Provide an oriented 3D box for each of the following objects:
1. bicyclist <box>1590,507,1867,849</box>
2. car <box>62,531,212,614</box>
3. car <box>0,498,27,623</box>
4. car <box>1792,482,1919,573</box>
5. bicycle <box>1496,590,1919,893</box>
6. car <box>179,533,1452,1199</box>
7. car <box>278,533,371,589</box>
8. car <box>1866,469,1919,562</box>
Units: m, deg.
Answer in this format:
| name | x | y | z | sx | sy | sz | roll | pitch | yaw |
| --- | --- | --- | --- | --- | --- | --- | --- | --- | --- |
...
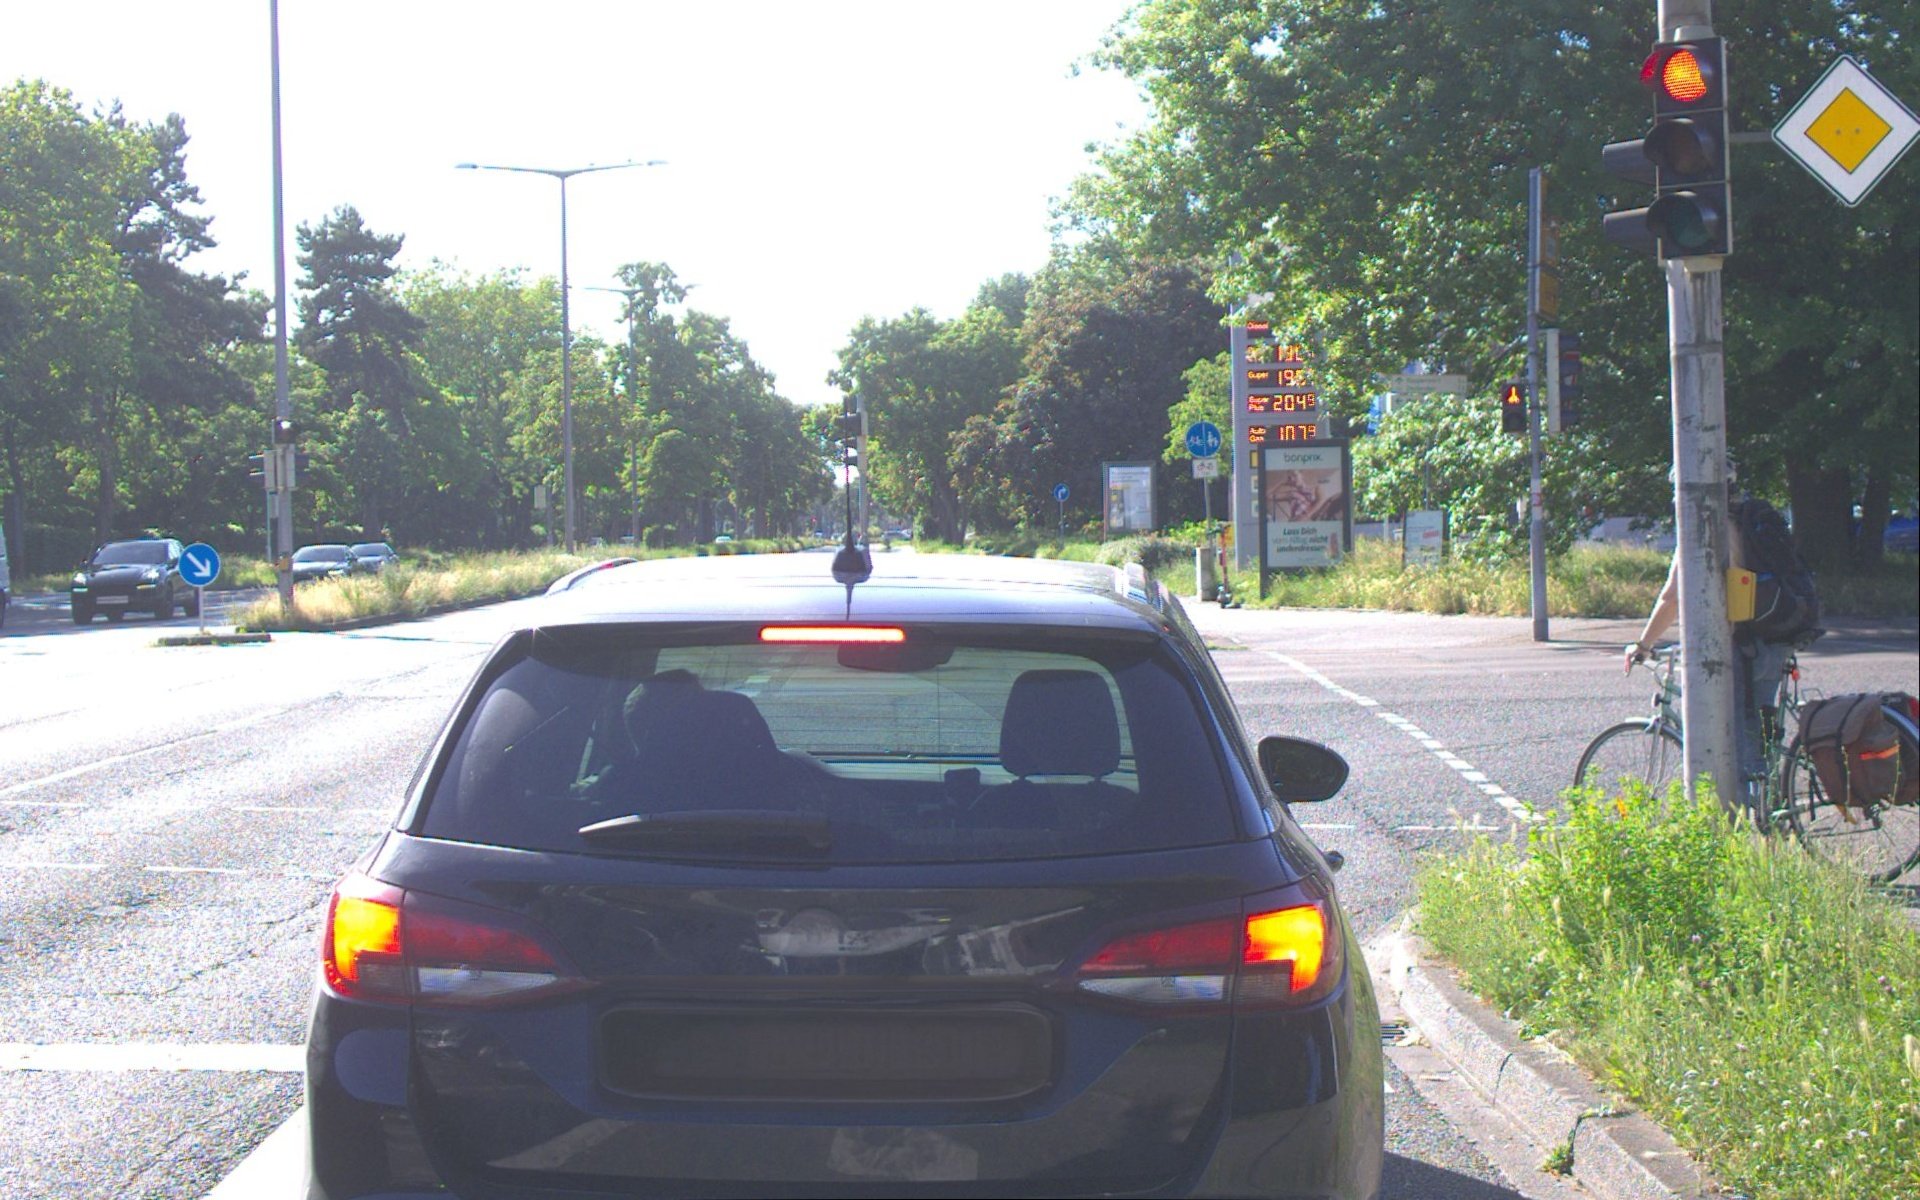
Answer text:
| name | x | y | z | sx | sy | sz | roll | pitch | yaw |
| --- | --- | --- | --- | --- | --- | --- | --- | --- | --- |
| bicyclist | 2.979 | 0.303 | 13.347 | 0.536 | 1.272 | 0.829 | -3 | 0 | -44 |
| car | -16.987 | -0.594 | 71.167 | 1.993 | 1.596 | 4.616 | -1 | 1 | -1 |
| car | -20.140 | -0.735 | 67.312 | 2.100 | 2.484 | 6.004 | -2 | 1 | -1 |
| car | 16.626 | -1.291 | 59.818 | 3.887 | 1.512 | 1.746 | -2 | 1 | -23 |
| bicycle | 2.987 | 0.544 | 13.350 | 0.536 | 1.094 | 1.775 | -3 | 0 | -44 |
| car | -0.224 | 0.629 | 6.863 | 1.756 | 1.490 | 4.207 | 0 | 1 | -1 |
| car | -17.434 | -1.098 | 94.474 | 1.776 | 1.458 | 4.165 | -1 | 1 | -1 |
| car | 17.102 | -1.432 | 56.732 | 3.887 | 1.512 | 1.746 | -2 | 1 | -23 |
